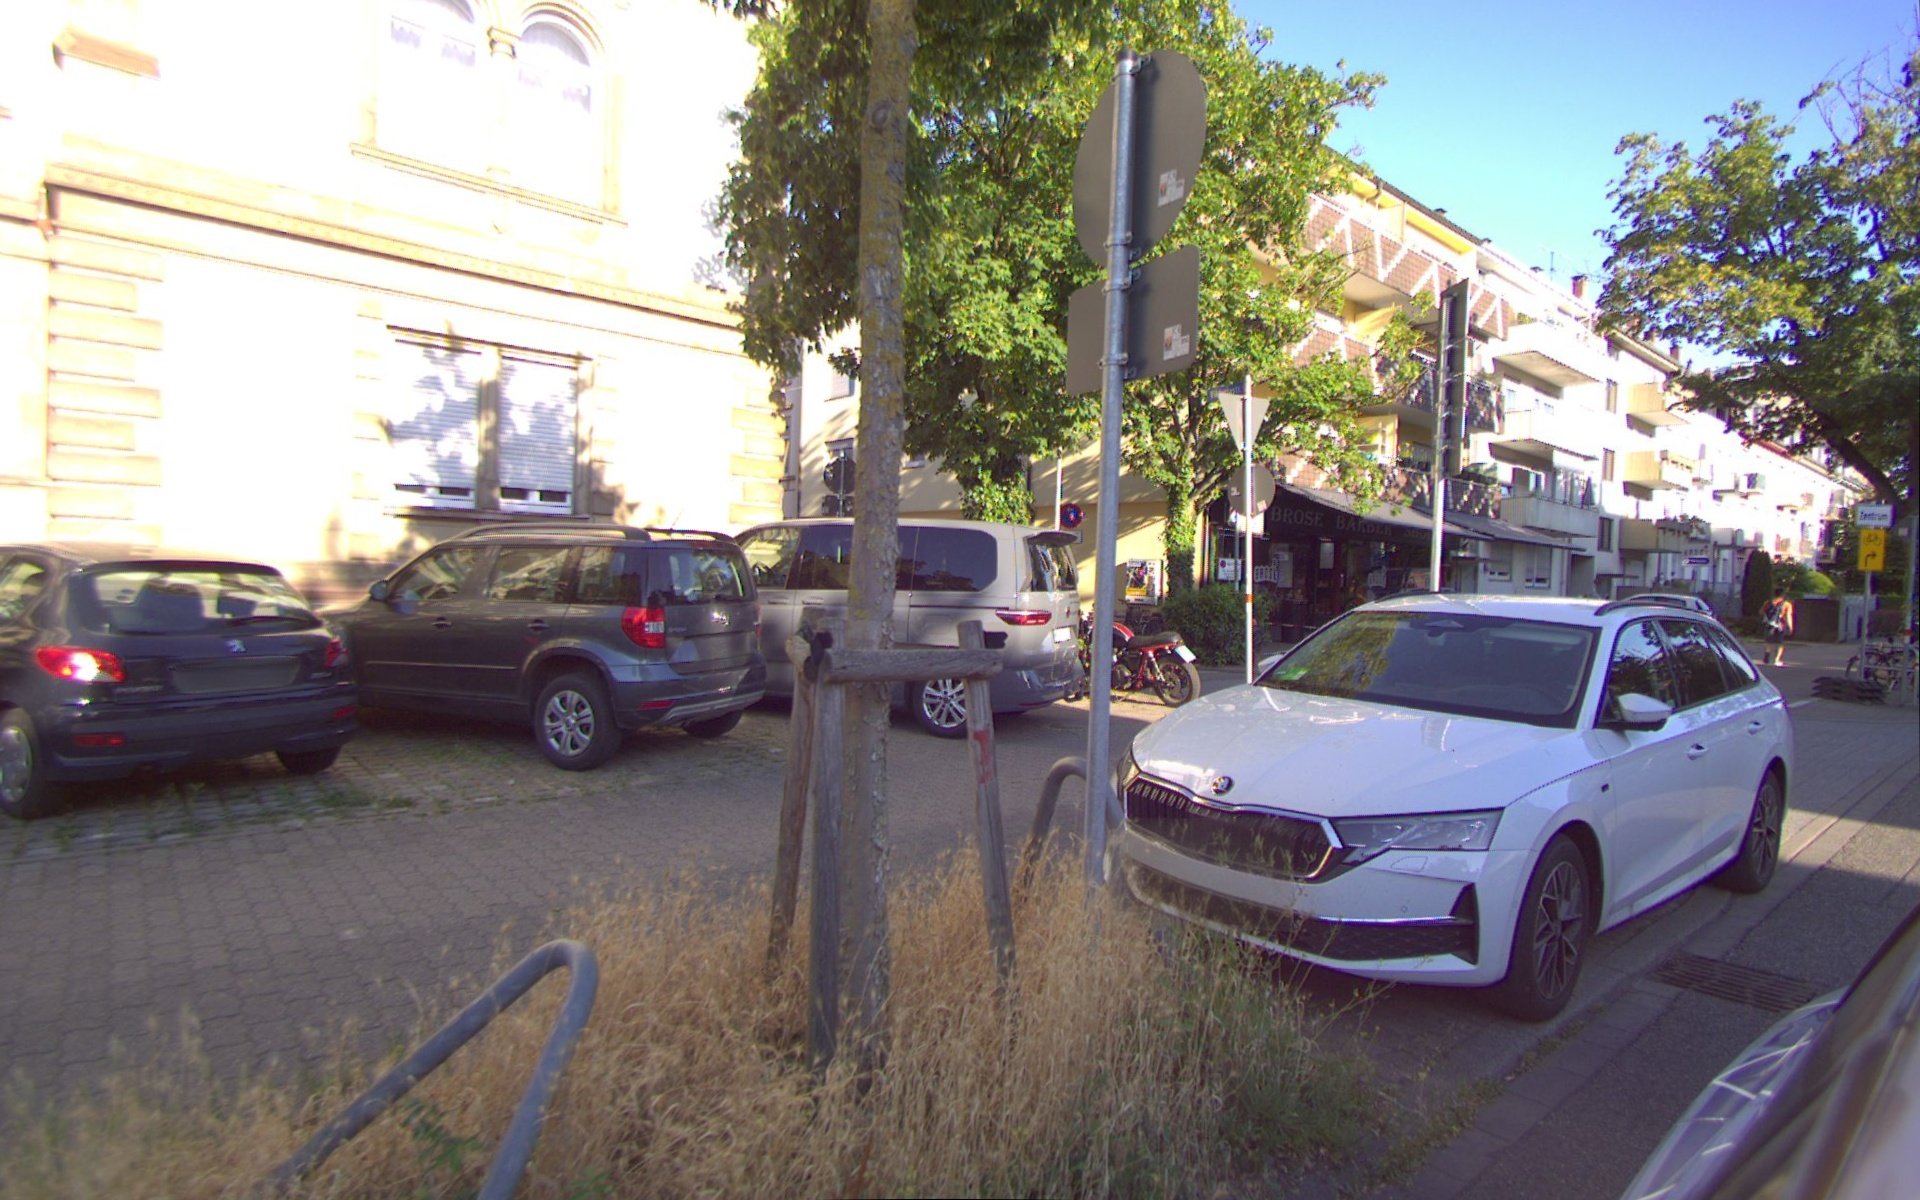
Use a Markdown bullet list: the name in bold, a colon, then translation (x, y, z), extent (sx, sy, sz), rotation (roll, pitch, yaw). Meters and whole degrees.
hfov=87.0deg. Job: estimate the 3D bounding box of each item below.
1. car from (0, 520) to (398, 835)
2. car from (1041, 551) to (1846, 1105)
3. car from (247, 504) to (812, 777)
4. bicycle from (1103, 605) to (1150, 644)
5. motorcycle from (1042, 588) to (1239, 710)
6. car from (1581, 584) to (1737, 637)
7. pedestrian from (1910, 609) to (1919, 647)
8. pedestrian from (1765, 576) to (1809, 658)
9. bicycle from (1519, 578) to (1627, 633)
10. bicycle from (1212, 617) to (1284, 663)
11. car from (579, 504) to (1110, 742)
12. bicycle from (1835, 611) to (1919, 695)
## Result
- **car**: translation (-5.720, 0.253, 6.498), extent (4.061, 1.458, 1.701), rotation (4, 2, 27)
- **car**: translation (2.650, 0.590, 4.905), extent (4.540, 1.496, 1.825), rotation (0, 2, -41)
- **car**: translation (-3.410, 0.176, 8.084), extent (4.050, 1.720, 1.776), rotation (3, 2, 20)
- **bicycle**: translation (3.369, 0.488, 20.463), extent (0.896, 0.752, 0.428), rotation (0, 1, -40)
- **motorcycle**: translation (2.070, 0.510, 11.821), extent (2.153, 1.255, 0.778), rotation (2, 1, 40)
- **car**: translation (22.277, 0.286, 32.344), extent (1.550, 1.523, 3.869), rotation (0, 2, -45)
- **pedestrian**: translation (27.330, 0.801, 28.653), extent (0.522, 1.072, 0.553), rotation (1, 1, -39)
- **pedestrian**: translation (18.464, 0.379, 22.599), extent (0.552, 1.794, 0.619), rotation (2, 0, -40)
- **bicycle**: translation (17.402, 0.138, 28.769), extent (0.912, 1.459, 2.457), rotation (0, 1, -42)
- **bicycle**: translation (5.300, 0.716, 18.592), extent (1.504, 0.777, 0.486), rotation (0, 1, -40)
- **car**: translation (-1.142, 0.101, 9.961), extent (4.880, 1.923, 1.907), rotation (2, 1, 22)
- **bicycle**: translation (14.629, 0.824, 15.435), extent (0.602, 1.176, 1.905), rotation (1, 3, -13)
